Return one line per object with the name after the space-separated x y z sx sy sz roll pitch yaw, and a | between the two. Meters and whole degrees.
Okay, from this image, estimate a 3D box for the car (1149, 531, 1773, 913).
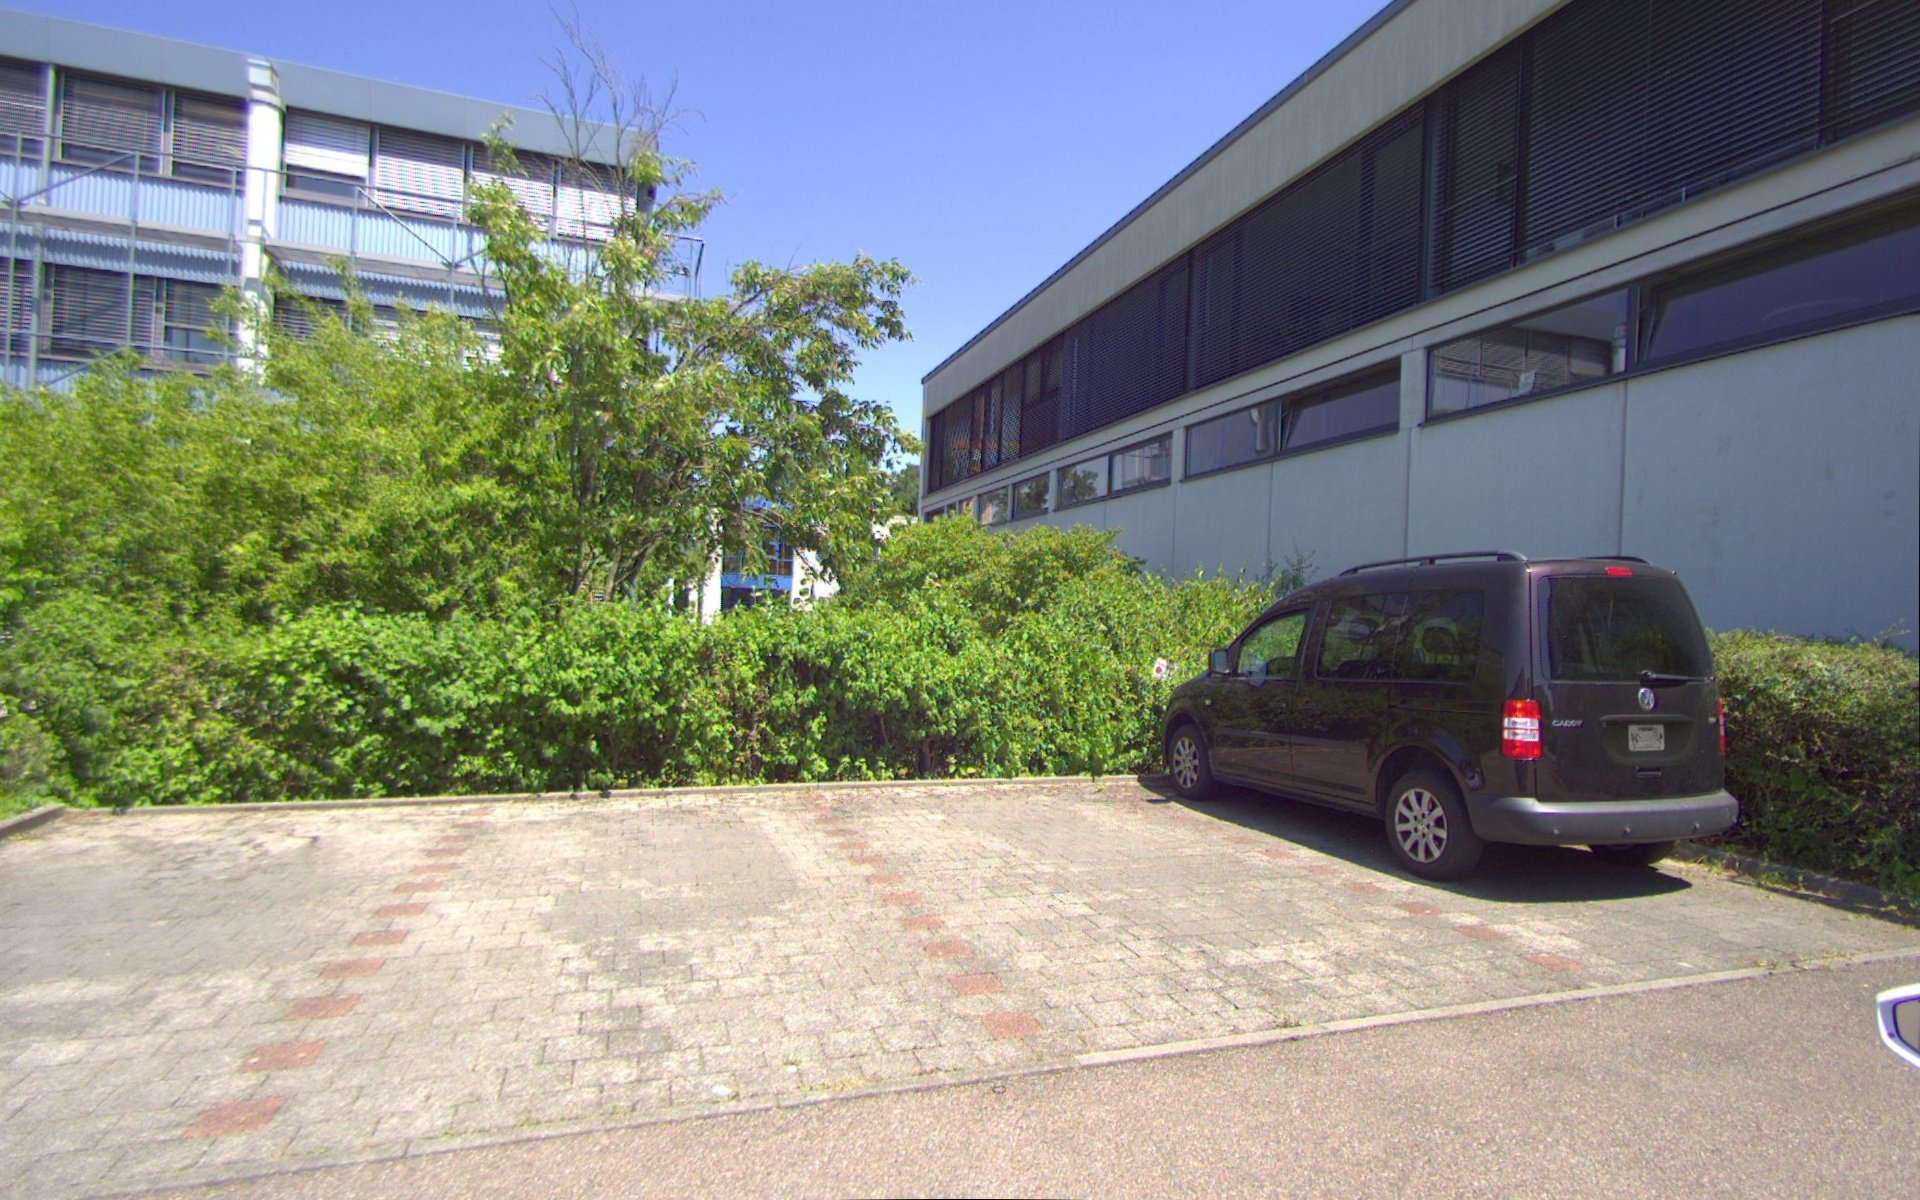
3.080 0.639 7.213 1.652 1.909 4.056 1 -1 -17 | car
